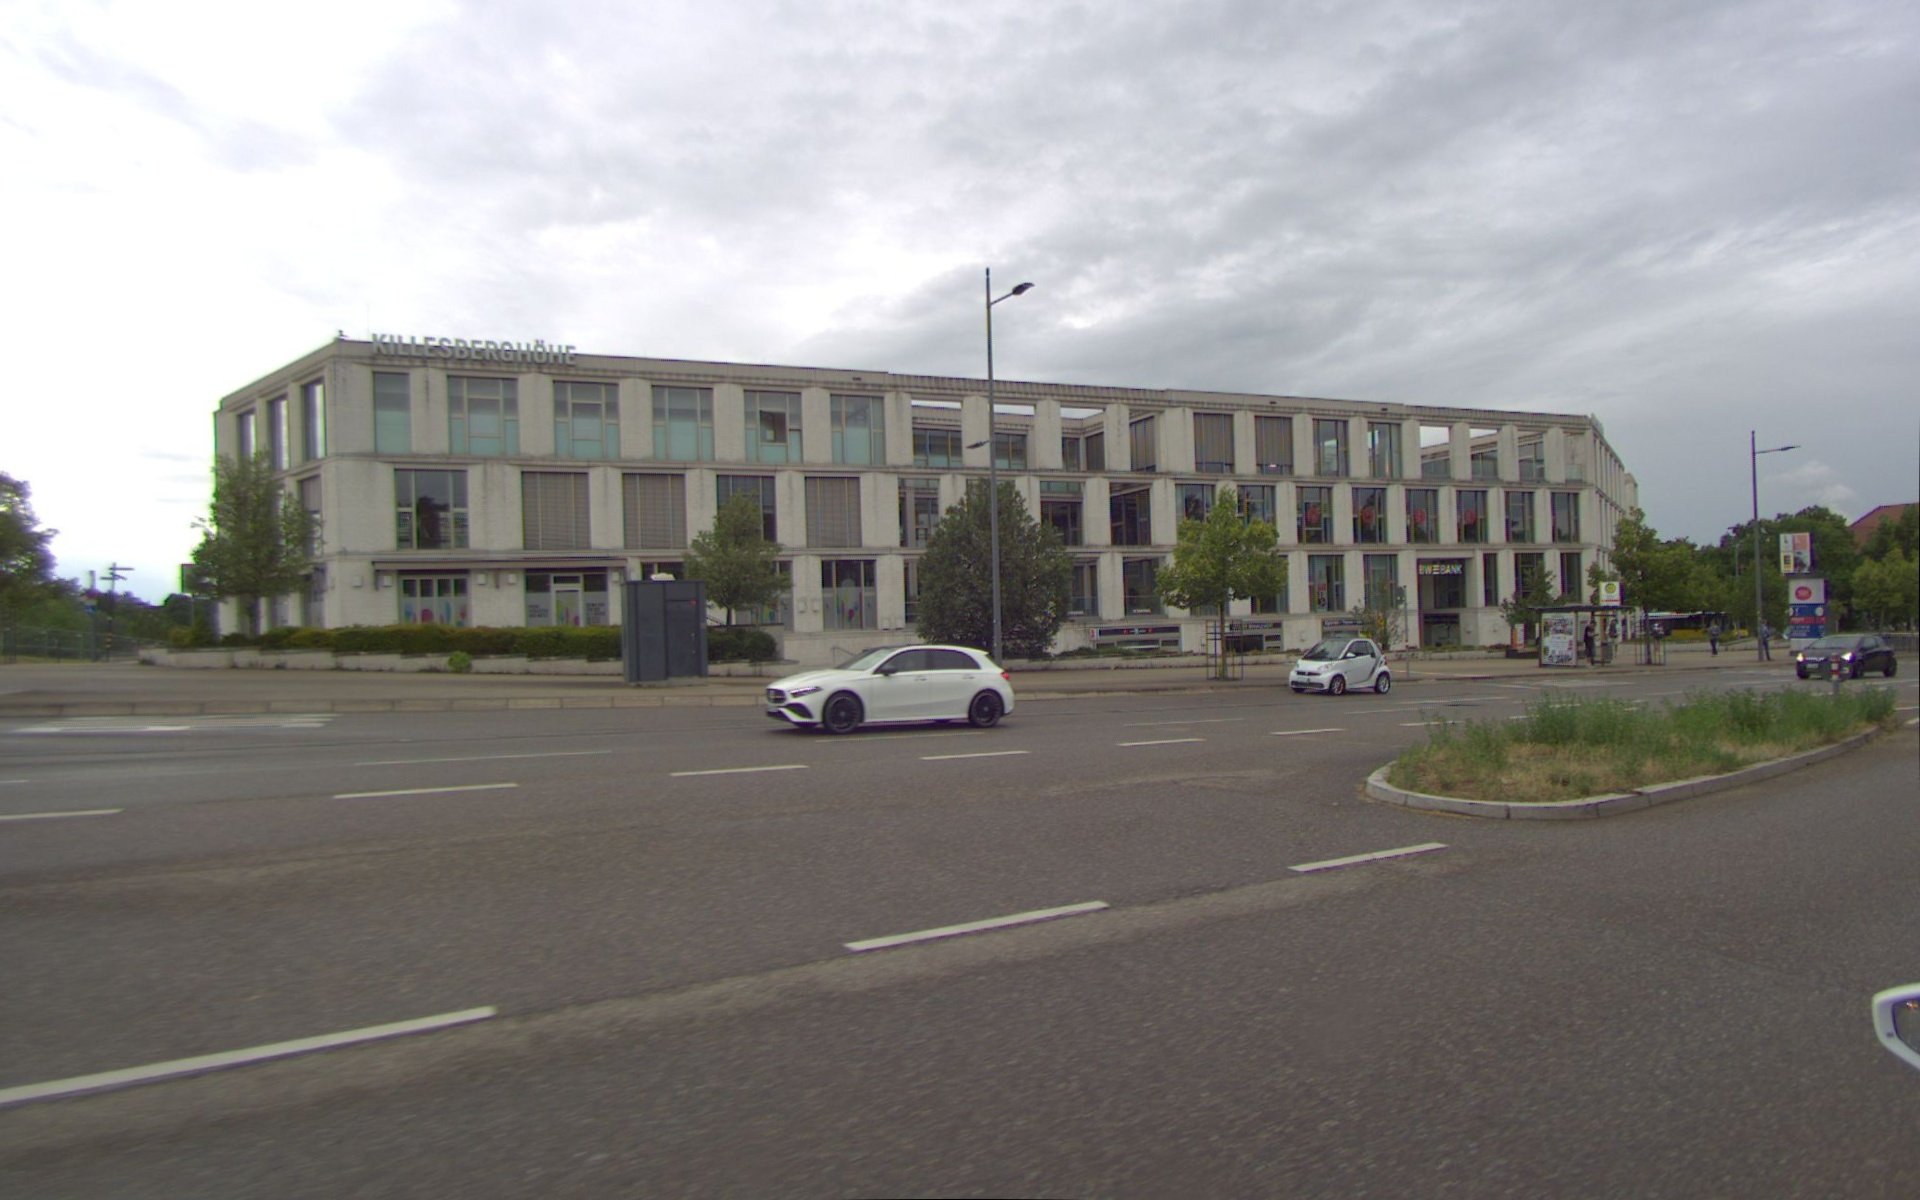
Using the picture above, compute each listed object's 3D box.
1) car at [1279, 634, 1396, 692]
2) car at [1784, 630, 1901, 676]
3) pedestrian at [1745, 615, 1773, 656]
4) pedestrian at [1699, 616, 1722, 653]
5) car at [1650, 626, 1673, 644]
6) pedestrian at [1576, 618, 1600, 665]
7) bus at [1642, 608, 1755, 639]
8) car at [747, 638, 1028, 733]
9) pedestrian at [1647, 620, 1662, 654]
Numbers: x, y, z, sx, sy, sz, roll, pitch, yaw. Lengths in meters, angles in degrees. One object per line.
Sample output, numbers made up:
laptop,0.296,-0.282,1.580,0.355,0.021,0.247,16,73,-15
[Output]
car,10.648,1.736,28.317,2.937,1.528,1.606,1,-1,-30
car,30.200,1.801,34.361,3.821,1.481,1.839,1,-3,-30
pedestrian,36.703,1.634,46.120,0.737,1.866,0.750,1,-2,-27
pedestrian,37.496,1.721,50.209,0.846,1.785,0.596,1,-2,-27
car,70.744,3.531,101.335,1.749,1.754,3.990,-2,-2,32
pedestrian,25.033,1.652,40.059,0.747,1.866,0.505,1,-2,-30
bus,79.751,2.566,108.738,2.858,3.144,9.698,0,-2,-25
car,-1.219,1.396,17.392,4.459,1.437,1.985,1,-2,-30
pedestrian,35.657,1.898,51.580,0.492,1.712,0.910,-2,-2,44
